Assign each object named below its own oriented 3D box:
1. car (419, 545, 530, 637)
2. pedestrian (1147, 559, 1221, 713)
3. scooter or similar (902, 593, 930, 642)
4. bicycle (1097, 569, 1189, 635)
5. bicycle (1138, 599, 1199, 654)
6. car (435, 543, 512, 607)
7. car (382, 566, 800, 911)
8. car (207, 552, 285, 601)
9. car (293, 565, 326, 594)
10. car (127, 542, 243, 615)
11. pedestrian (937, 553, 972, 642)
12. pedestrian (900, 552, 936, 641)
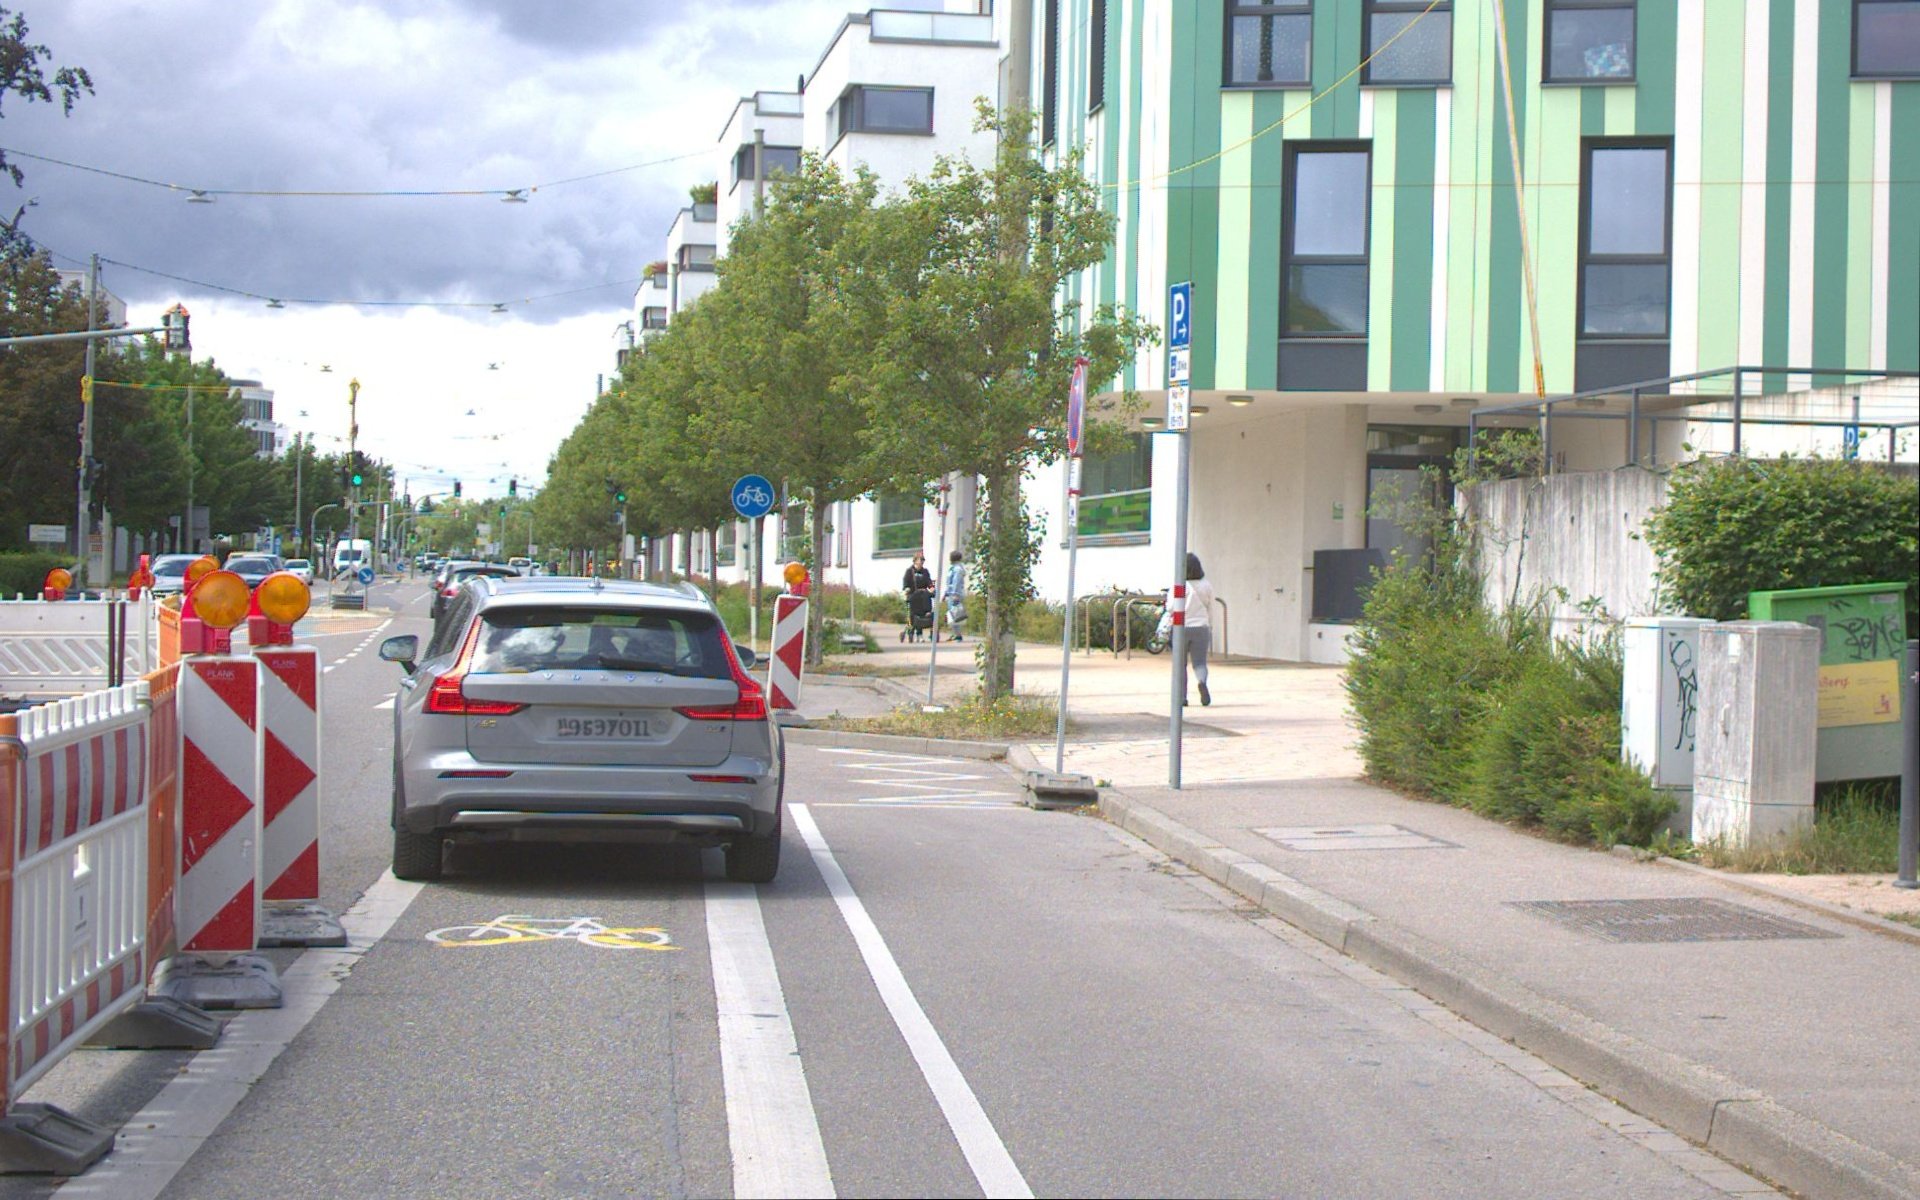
[{"bbox_3d":[-8.707,-0.187,61.455,1.854,1.508,4.001,2,1,-9],"label":"car"},{"bbox_3d":[2.273,0.358,34.955,0.581,1.546,0.869,0,1,-8],"label":"pedestrian"},{"bbox_3d":[-0.815,0.325,63.906,0.421,0.902,0.682,0,1,-8],"label":"scooter or similar"},{"bbox_3d":[2.914,0.030,54.754,1.464,1.042,0.307,0,1,-20],"label":"bicycle"},{"bbox_3d":[3.253,0.404,53.716,1.022,0.839,0.307,-1,1,-40],"label":"bicycle"},{"bbox_3d":[-12.392,-0.657,87.459,1.844,1.508,4.001,2,1,-9],"label":"car"},{"bbox_3d":[-1.887,0.617,17.666,1.854,1.508,4.001,1,1,-6],"label":"car"},{"bbox_3d":[-21.621,-0.725,104.281,1.993,1.395,4.812,-1,1,-8],"label":"car"},{"bbox_3d":[-36.299,-1.140,191.891,1.660,1.510,4.001,1,1,-8],"label":"car"},{"bbox_3d":[-16.611,-0.483,73.855,1.854,1.508,4.001,0,1,-4],"label":"car"},{"bbox_3d":[-0.106,-0.046,63.781,0.550,1.649,0.607,0,1,-8],"label":"pedestrian"},{"bbox_3d":[-0.790,-0.071,64.348,0.605,1.649,0.552,0,1,-8],"label":"pedestrian"}]
